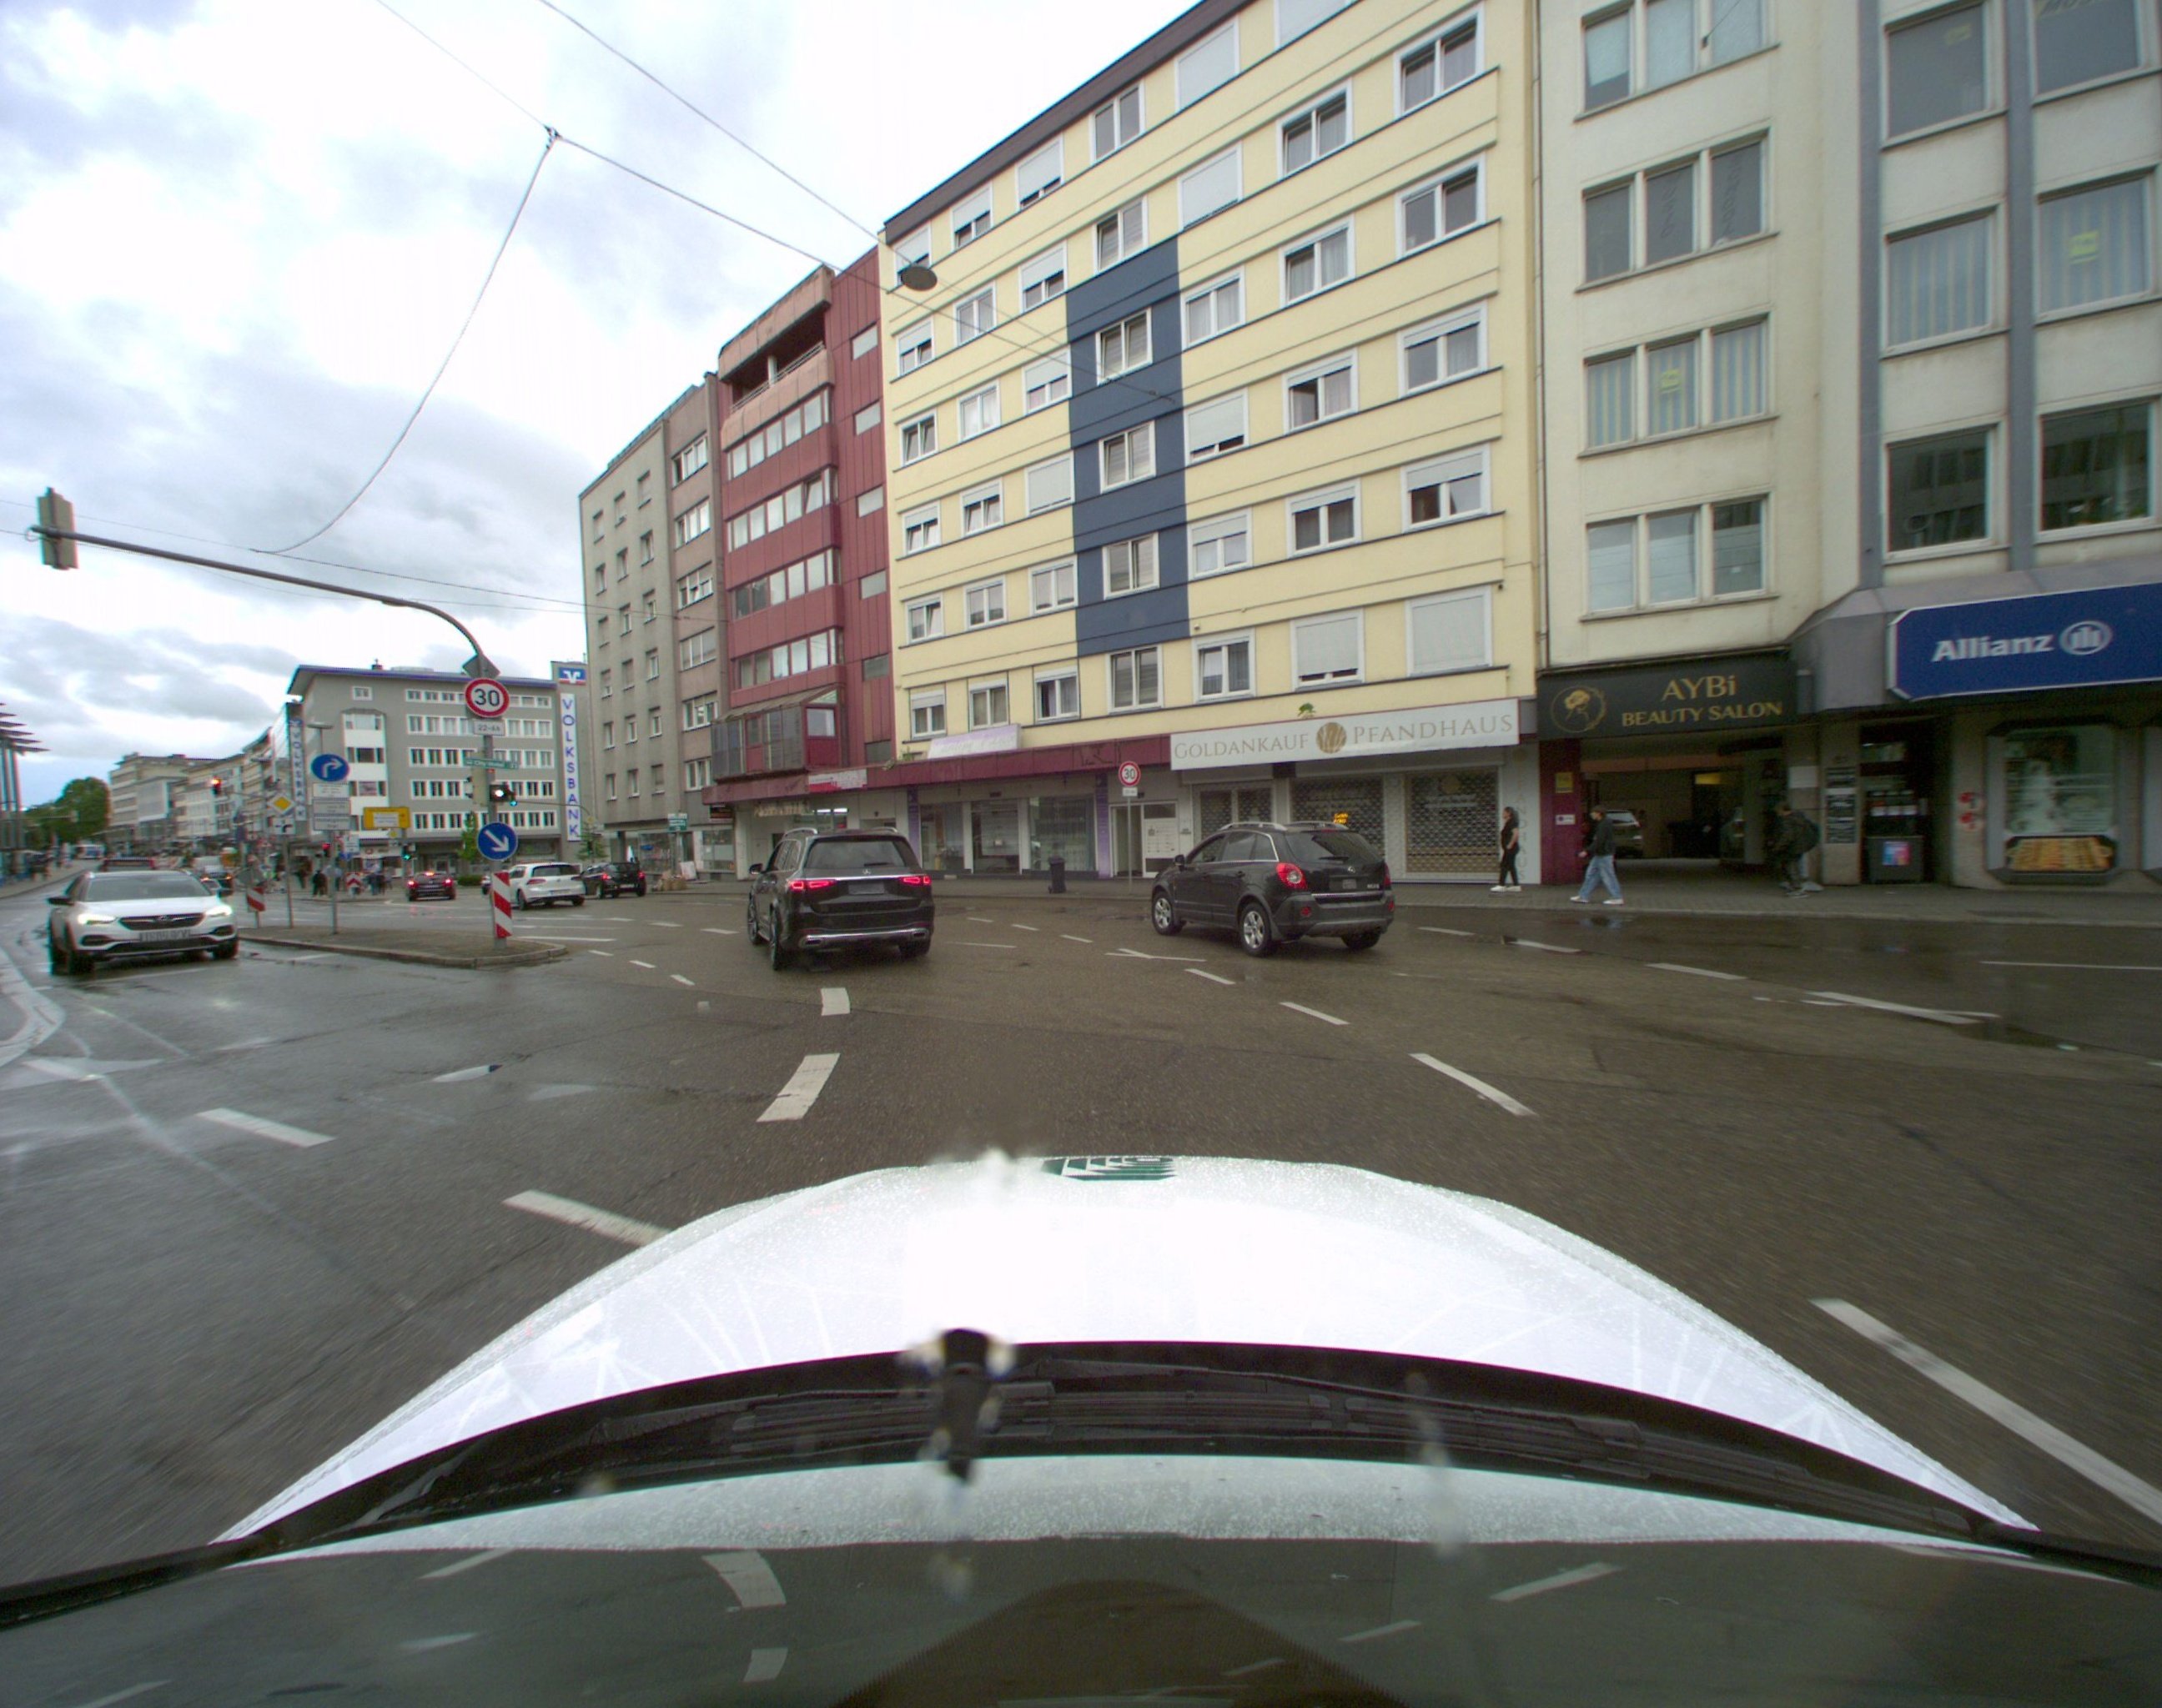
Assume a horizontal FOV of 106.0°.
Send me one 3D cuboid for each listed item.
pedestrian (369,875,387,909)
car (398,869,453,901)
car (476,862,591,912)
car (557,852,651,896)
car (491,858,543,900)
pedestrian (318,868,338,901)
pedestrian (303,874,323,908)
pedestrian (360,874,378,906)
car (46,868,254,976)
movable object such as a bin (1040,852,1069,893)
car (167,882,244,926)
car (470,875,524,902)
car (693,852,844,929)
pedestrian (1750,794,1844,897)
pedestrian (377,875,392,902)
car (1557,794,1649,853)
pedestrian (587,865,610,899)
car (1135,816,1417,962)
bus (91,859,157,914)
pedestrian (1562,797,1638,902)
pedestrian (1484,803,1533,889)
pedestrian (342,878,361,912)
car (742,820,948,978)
[{"bbox_3d":[-43.237,2.332,50.069,0.818,2.014,0.845,-1,-1,-40],"label":"pedestrian"},{"bbox_3d":[-32.971,1.557,40.927,2.011,1.486,4.186,-1,-1,-41],"label":"car"},{"bbox_3d":[-18.071,1.025,26.828,4.343,1.495,1.891,-1,-1,38],"label":"car"},{"bbox_3d":[-19.311,0.808,32.909,4.437,1.658,1.840,-1,-2,39],"label":"car"},{"bbox_3d":[-31.250,1.337,45.085,2.259,2.228,5.369,1,-1,-36],"label":"car"},{"bbox_3d":[-47.127,1.911,50.977,0.818,2.014,0.845,-1,-1,-40],"label":"pedestrian"},{"bbox_3d":[-46.531,2.213,49.343,0.818,2.014,0.845,-1,-1,-40],"label":"pedestrian"},{"bbox_3d":[-44.986,2.276,51.466,0.818,2.014,0.845,-1,-1,-40],"label":"pedestrian"},{"bbox_3d":[-16.849,1.143,14.676,4.674,1.556,2.013,-2,0,36],"label":"car"},{"bbox_3d":[-0.689,0.484,21.485,0.537,0.950,0.617,-8,5,-15],"label":"movable object such as a bin"},{"bbox_3d":[-41.208,2.284,38.300,4.675,1.789,2.013,0,0,37],"label":"car"},{"bbox_3d":[-35.813,2.100,50.034,1.935,1.515,4.622,2,-2,-27],"label":"car"},{"bbox_3d":[-6.608,0.740,17.001,1.781,1.397,3.953,-1,-1,-39],"label":"car"},{"bbox_3d":[12.420,-0.157,14.165,1.021,1.688,0.835,-2,5,23],"label":"pedestrian"},{"bbox_3d":[-53.640,2.634,62.730,0.818,2.014,0.845,-1,-1,-40],"label":"pedestrian"},{"bbox_3d":[16.614,-0.893,26.114,1.781,1.670,4.022,-2,-1,23],"label":"car"},{"bbox_3d":[-29.215,1.673,49.314,0.806,2.014,0.857,-2,-1,11],"label":"pedestrian"},{"bbox_3d":[2.568,0.379,12.008,1.904,1.695,4.476,-2,1,-19],"label":"car"},{"bbox_3d":[-75.991,2.647,64.619,9.361,3.953,2.938,-3,-1,38],"label":"bus"},{"bbox_3d":[9.415,-0.084,14.807,1.021,1.799,0.835,-2,5,23],"label":"pedestrian"},{"bbox_3d":[8.809,-0.173,16.787,0.747,1.688,0.568,-3,5,14],"label":"pedestrian"},{"bbox_3d":[-44.803,2.520,50.003,0.818,2.014,0.845,-1,-1,-40],"label":"pedestrian"},{"bbox_3d":[-3.683,0.493,12.011,2.050,1.798,4.622,-2,1,-27],"label":"car"}]
